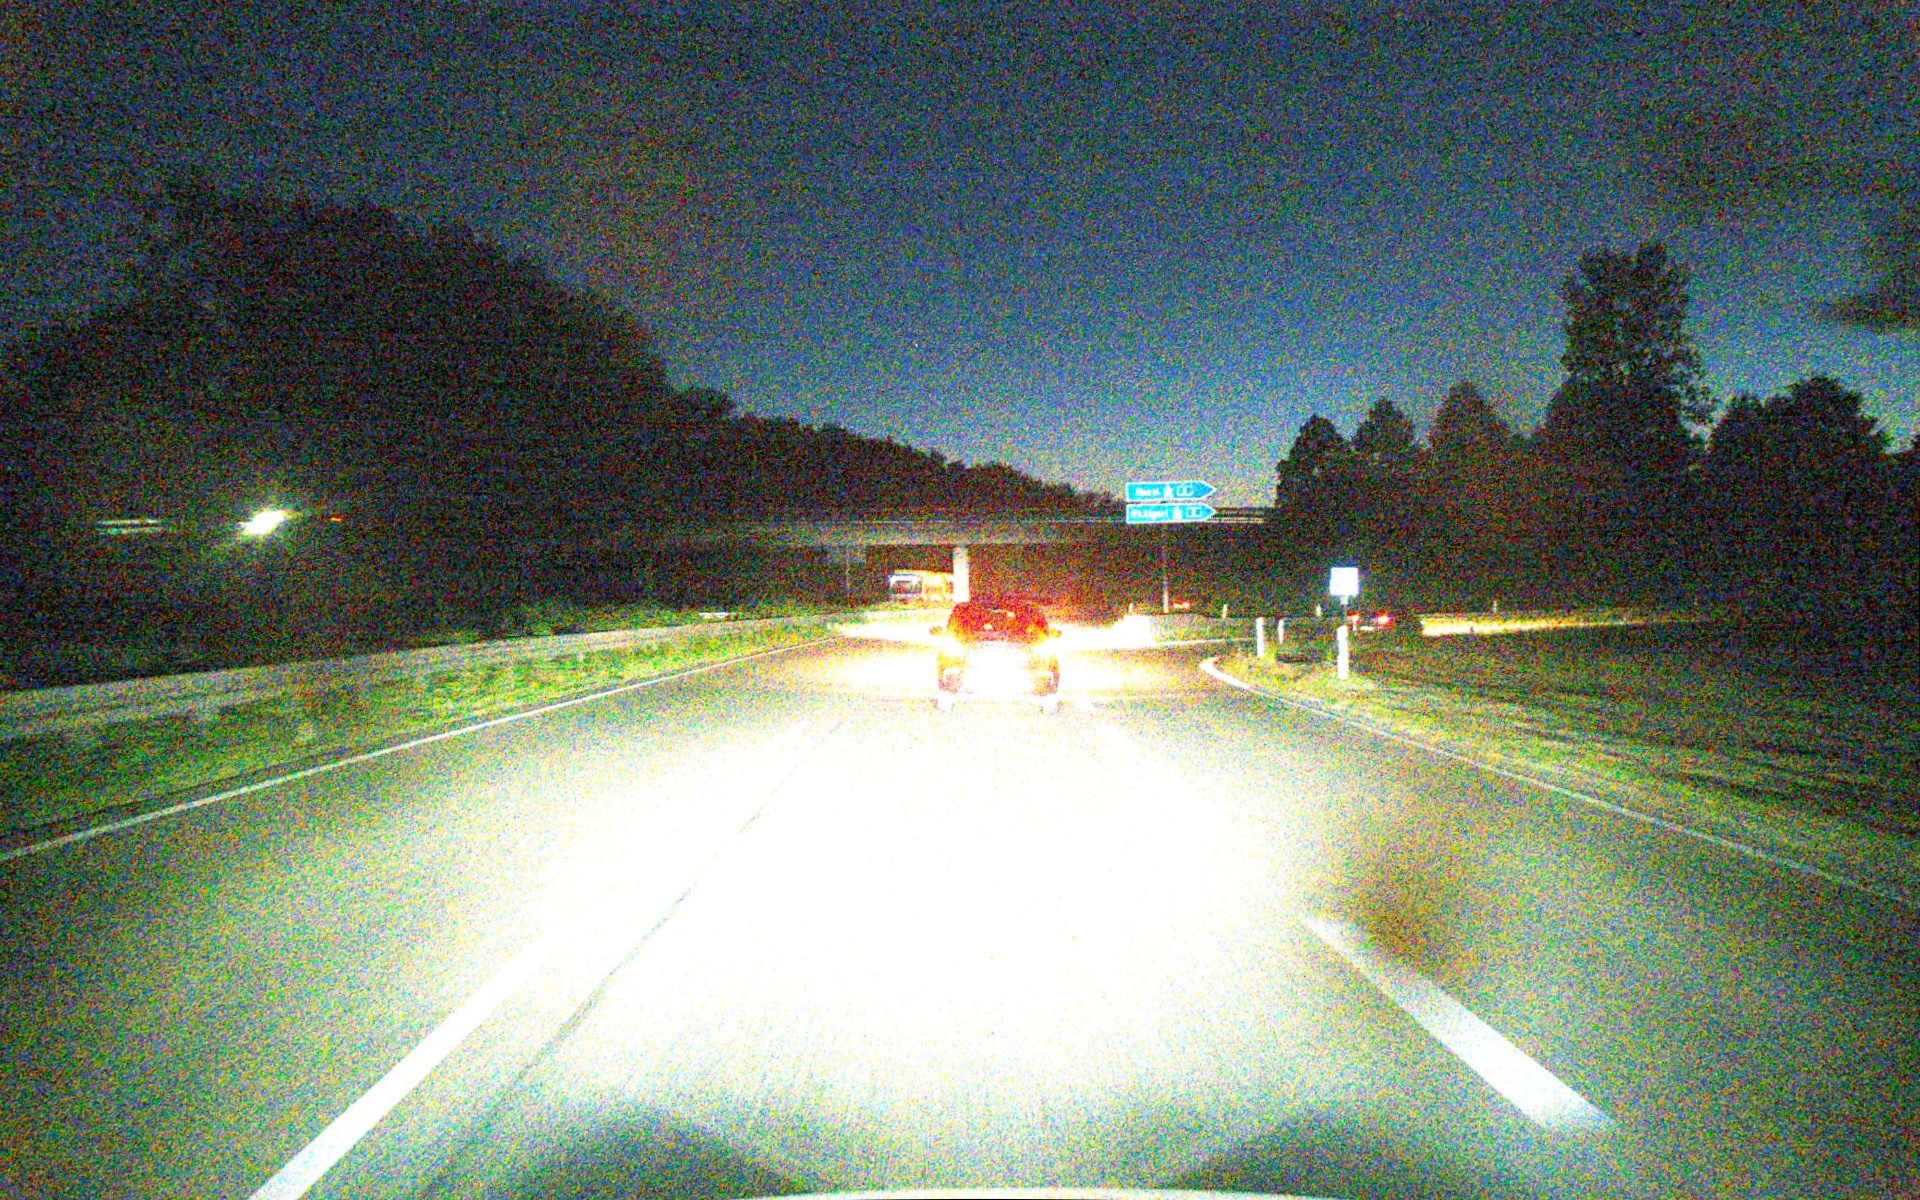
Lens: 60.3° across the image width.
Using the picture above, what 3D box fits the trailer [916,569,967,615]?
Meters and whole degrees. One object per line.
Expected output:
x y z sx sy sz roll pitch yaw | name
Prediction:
-1.623 -0.727 150.621 2.659 4.026 9.055 0 0 12 | trailer

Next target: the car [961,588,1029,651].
1.037 0.535 47.780 1.867 1.728 4.001 0 0 2 | car

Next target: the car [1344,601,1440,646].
18.408 0.966 70.390 4.224 1.847 1.910 0 0 -40 | car

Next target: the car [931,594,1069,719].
0.473 0.700 22.741 1.556 1.534 3.997 1 0 -3 | car

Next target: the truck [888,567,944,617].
-3.665 -0.687 140.897 2.623 4.115 10.663 0 0 11 | truck
